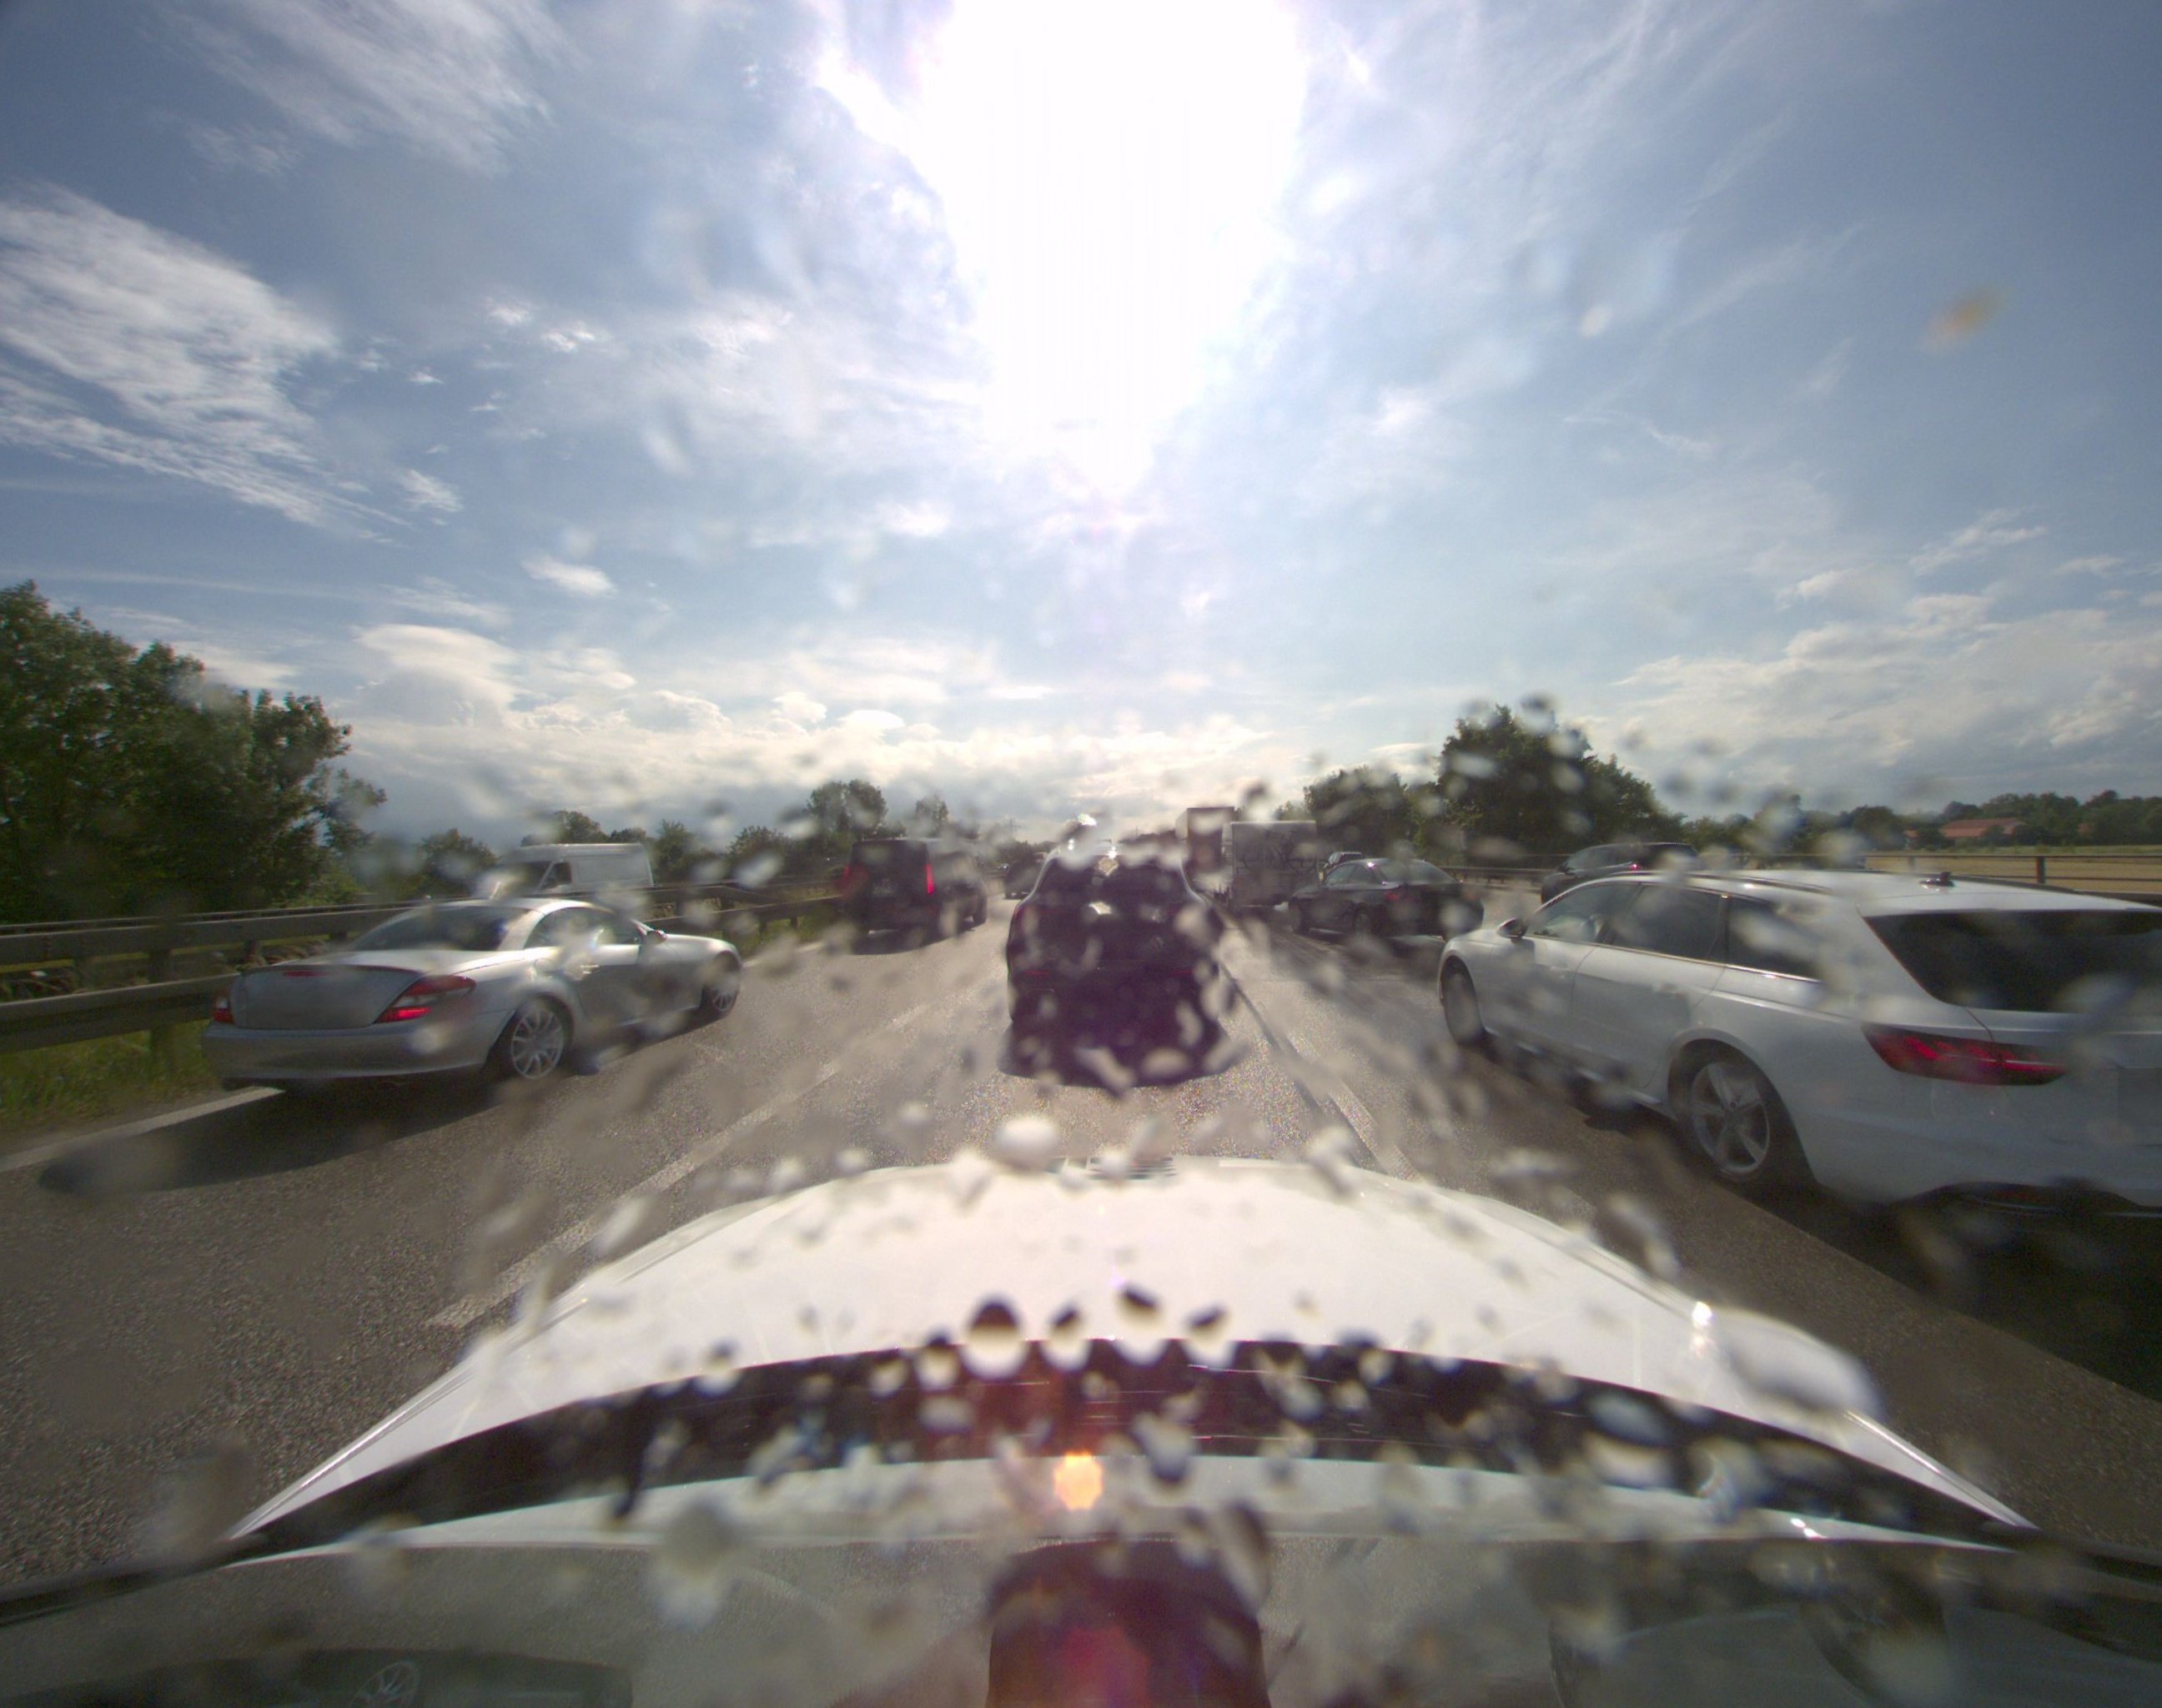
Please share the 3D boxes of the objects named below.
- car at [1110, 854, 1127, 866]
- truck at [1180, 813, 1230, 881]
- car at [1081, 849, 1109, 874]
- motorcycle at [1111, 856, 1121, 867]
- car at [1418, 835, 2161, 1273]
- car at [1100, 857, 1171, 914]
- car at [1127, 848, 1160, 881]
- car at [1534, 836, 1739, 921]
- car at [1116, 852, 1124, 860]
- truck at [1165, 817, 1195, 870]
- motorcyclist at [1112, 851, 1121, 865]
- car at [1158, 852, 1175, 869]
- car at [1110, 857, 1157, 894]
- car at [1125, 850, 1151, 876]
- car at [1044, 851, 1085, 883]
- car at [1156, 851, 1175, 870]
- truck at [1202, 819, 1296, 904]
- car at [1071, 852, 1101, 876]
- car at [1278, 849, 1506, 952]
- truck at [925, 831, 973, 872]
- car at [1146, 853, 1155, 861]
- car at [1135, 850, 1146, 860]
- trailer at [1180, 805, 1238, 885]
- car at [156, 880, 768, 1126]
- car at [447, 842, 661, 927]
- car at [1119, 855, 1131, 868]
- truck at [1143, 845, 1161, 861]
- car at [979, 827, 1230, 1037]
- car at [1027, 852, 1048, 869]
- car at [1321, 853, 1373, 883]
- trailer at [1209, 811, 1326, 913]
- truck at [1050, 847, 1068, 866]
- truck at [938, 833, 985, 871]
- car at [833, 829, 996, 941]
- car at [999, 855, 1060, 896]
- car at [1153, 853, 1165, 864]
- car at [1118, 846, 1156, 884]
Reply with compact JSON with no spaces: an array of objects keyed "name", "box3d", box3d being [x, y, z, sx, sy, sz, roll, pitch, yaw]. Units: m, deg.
[{"name":"car","box3d":[5.076,0.810,110.665,1.984,1.616,4.006,3,0,5]},{"name":"truck","box3d":[7.970,-0.443,52.961,2.979,4.166,5.250,-1,0,7]},{"name":"car","box3d":[1.263,0.618,70.088,1.984,2.013,4.006,3,0,5]},{"name":"motorcycle","box3d":[4.338,0.917,100.264,1.068,1.271,2.694,-1,0,5]},{"name":"car","box3d":[3.815,0.691,4.916,1.820,1.425,4.512,0,-1,2]},{"name":"car","box3d":[1.565,0.789,22.335,1.748,1.387,3.951,-1,0,6]},{"name":"car","box3d":[4.177,0.661,53.948,1.984,2.013,4.006,3,0,5]},{"name":"car","box3d":[11.927,0.475,17.893,1.812,1.620,4.369,0,0,5]},{"name":"car","box3d":[10.276,0.508,213.247,1.986,2.014,4.002,0,0,2]},{"name":"truck","box3d":[9.554,-0.965,79.022,2.491,4.830,7.550,0,0,4]},{"name":"motorcyclist","box3d":[4.329,0.472,100.252,1.059,1.718,0.786,-1,-1,5]},{"name":"car","box3d":[10.697,0.756,102.283,1.984,2.013,4.006,3,0,5]},{"name":"car","box3d":[2.168,0.830,32.847,1.797,1.407,4.005,0,0,5]},{"name":"car","box3d":[4.721,0.731,66.649,1.984,2.013,4.006,-1,0,5]},{"name":"car","box3d":[-0.905,0.736,46.767,1.985,1.720,4.004,0,0,3]},{"name":"car","box3d":[9.138,0.676,88.335,1.984,2.013,4.006,0,0,5]},{"name":"truck","box3d":[5.399,0.240,26.977,2.363,2.477,5.763,0,0,5]},{"name":"car","box3d":[0.416,0.745,63.208,1.984,1.772,4.006,1,0,5]},{"name":"car","box3d":[5.184,0.710,14.289,1.848,1.464,4.242,-2,-1,-9]},{"name":"truck","box3d":[-13.213,-0.163,82.174,2.849,3.821,7.886,-1,-1,4]},{"name":"car","box3d":[15.545,0.668,182.562,1.869,1.760,4.002,0,0,2]},{"name":"car","box3d":[10.796,0.219,148.228,1.869,1.760,4.002,0,0,2]},{"name":"trailer","box3d":[7.294,-0.452,47.359,2.991,4.166,8.552,-1,0,7]},{"name":"car","box3d":[-4.378,0.933,6.735,1.716,1.278,4.069,-1,0,5]},{"name":"car","box3d":[-14.340,0.765,22.709,1.984,2.013,5.564,-2,0,4]},{"name":"car","box3d":[7.602,1.287,140.443,1.986,2.013,4.002,3,0,2]},{"name":"truck","box3d":[18.085,-0.206,208.669,3.829,4.017,11.222,0,0,1]},{"name":"car","box3d":[0.359,0.644,8.741,1.984,1.661,4.411,-1,0,5]},{"name":"car","box3d":[-6.187,0.913,116.369,1.984,2.208,6.988,-1,0,4]},{"name":"car","box3d":[14.367,0.742,44.198,1.840,1.568,4.005,0,0,5]},{"name":"trailer","box3d":[5.099,0.221,23.327,2.363,2.483,6.531,0,0,5]},{"name":"truck","box3d":[-5.062,0.529,188.589,2.991,4.103,7.695,-3,-1,4]},{"name":"truck","box3d":[-12.775,-0.094,87.965,2.835,3.853,9.433,-1,-1,4]},{"name":"car","box3d":[-3.329,0.578,17.529,1.984,2.013,5.276,-1,0,5]},{"name":"car","box3d":[-1.974,0.800,32.464,1.748,1.516,4.215,-1,0,6]},{"name":"car","box3d":[13.705,0.779,143.128,1.869,1.760,4.002,0,0,2]},{"name":"car","box3d":[3.163,0.615,45.374,1.984,2.013,4.006,0,0,5]}]
